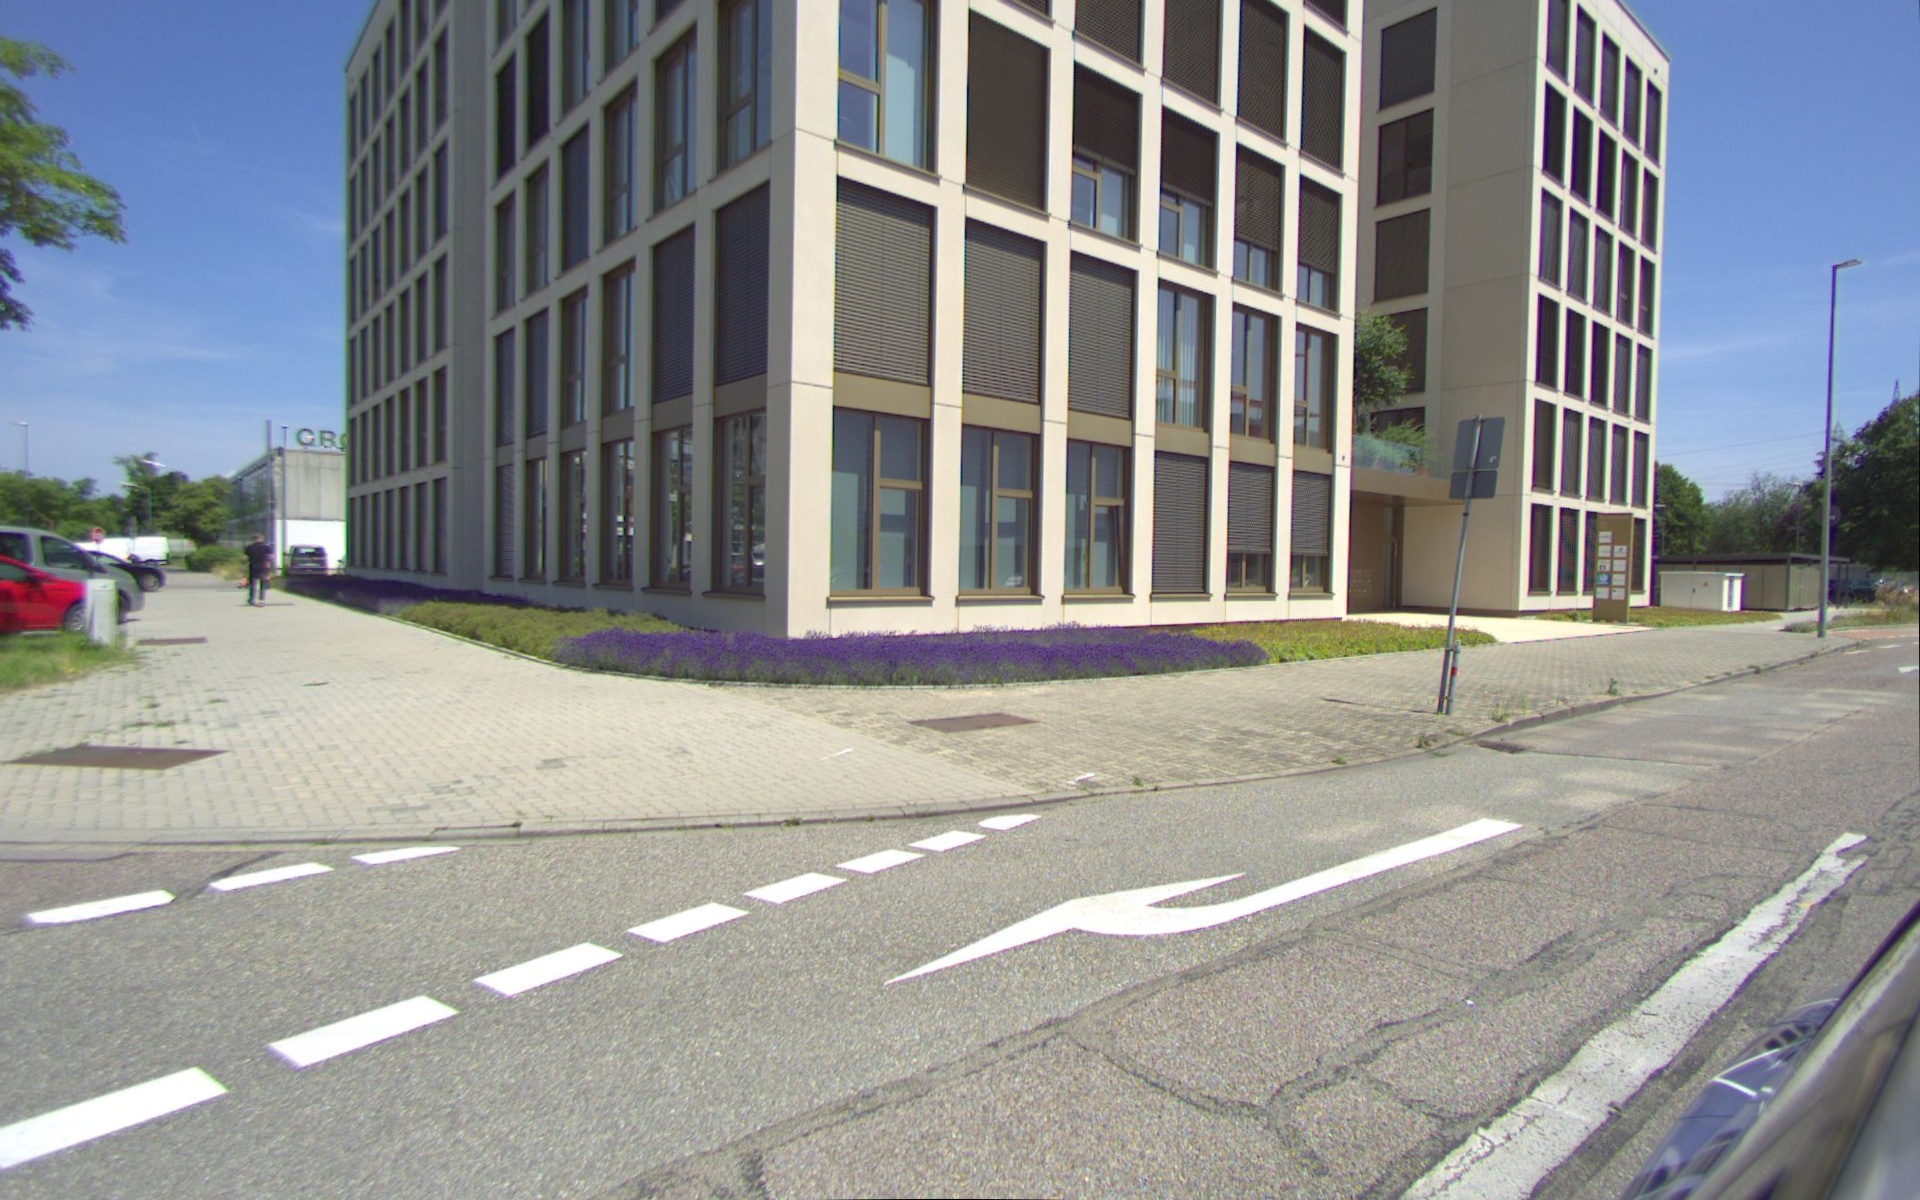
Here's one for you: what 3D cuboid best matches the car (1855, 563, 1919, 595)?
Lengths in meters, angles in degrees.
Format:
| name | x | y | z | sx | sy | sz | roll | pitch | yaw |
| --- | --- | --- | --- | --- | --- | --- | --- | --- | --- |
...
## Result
| name | x | y | z | sx | sy | sz | roll | pitch | yaw |
| --- | --- | --- | --- | --- | --- | --- | --- | --- | --- |
| car | 59.208 | -1.317 | 63.548 | 3.958 | 1.977 | 1.984 | 2 | 2 | 25 |

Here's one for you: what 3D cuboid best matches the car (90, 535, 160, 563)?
| name | x | y | z | sx | sy | sz | roll | pitch | yaw |
| --- | --- | --- | --- | --- | --- | --- | --- | --- | --- |
| car | -67.465 | -4.095 | 81.847 | 4.280 | 2.146 | 2.094 | 0 | 2 | -37 |

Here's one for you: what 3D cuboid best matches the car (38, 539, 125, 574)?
| name | x | y | z | sx | sy | sz | roll | pitch | yaw |
| --- | --- | --- | --- | --- | --- | --- | --- | --- | --- |
| car | -54.938 | -2.712 | 63.356 | 3.925 | 2.038 | 2.000 | 0 | 2 | -36 |

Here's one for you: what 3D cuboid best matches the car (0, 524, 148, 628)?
| name | x | y | z | sx | sy | sz | roll | pitch | yaw |
| --- | --- | --- | --- | --- | --- | --- | --- | --- | --- |
| car | -17.749 | -0.466 | 18.390 | 1.676 | 1.837 | 4.899 | 2 | 3 | 7 |

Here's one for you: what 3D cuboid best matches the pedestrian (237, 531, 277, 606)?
| name | x | y | z | sx | sy | sz | roll | pitch | yaw |
| --- | --- | --- | --- | --- | --- | --- | --- | --- | --- |
| pedestrian | -17.956 | -0.813 | 25.851 | 0.758 | 1.867 | 0.869 | -1 | 3 | -32 |

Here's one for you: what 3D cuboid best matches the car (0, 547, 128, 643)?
| name | x | y | z | sx | sy | sz | roll | pitch | yaw |
| --- | --- | --- | --- | --- | --- | --- | --- | --- | --- |
| car | -15.417 | -0.086 | 15.583 | 1.584 | 1.452 | 3.991 | 1 | 2 | 9 |

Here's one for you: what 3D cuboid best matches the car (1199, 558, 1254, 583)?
| name | x | y | z | sx | sy | sz | roll | pitch | yaw |
| --- | --- | --- | --- | --- | --- | --- | --- | --- | --- |
| car | 21.019 | -2.331 | 79.856 | 3.921 | 1.874 | 2.002 | 0 | 2 | -31 |

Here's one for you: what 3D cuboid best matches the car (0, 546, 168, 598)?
| name | x | y | z | sx | sy | sz | roll | pitch | yaw |
| --- | --- | --- | --- | --- | --- | --- | --- | --- | --- |
| car | -29.058 | -0.974 | 33.524 | 1.792 | 1.557 | 4.131 | 0 | 3 | 19 |

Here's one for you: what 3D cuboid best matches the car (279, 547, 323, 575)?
| name | x | y | z | sx | sy | sz | roll | pitch | yaw |
| --- | --- | --- | --- | --- | --- | --- | --- | --- | --- |
| car | -37.863 | -2.272 | 58.138 | 1.758 | 1.540 | 3.574 | -1 | 3 | -39 |

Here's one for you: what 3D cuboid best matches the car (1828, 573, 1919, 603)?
| name | x | y | z | sx | sy | sz | roll | pitch | yaw |
| --- | --- | --- | --- | --- | --- | --- | --- | --- | --- |
| car | 55.707 | -0.739 | 61.568 | 3.960 | 1.682 | 1.822 | 2 | 3 | 26 |
